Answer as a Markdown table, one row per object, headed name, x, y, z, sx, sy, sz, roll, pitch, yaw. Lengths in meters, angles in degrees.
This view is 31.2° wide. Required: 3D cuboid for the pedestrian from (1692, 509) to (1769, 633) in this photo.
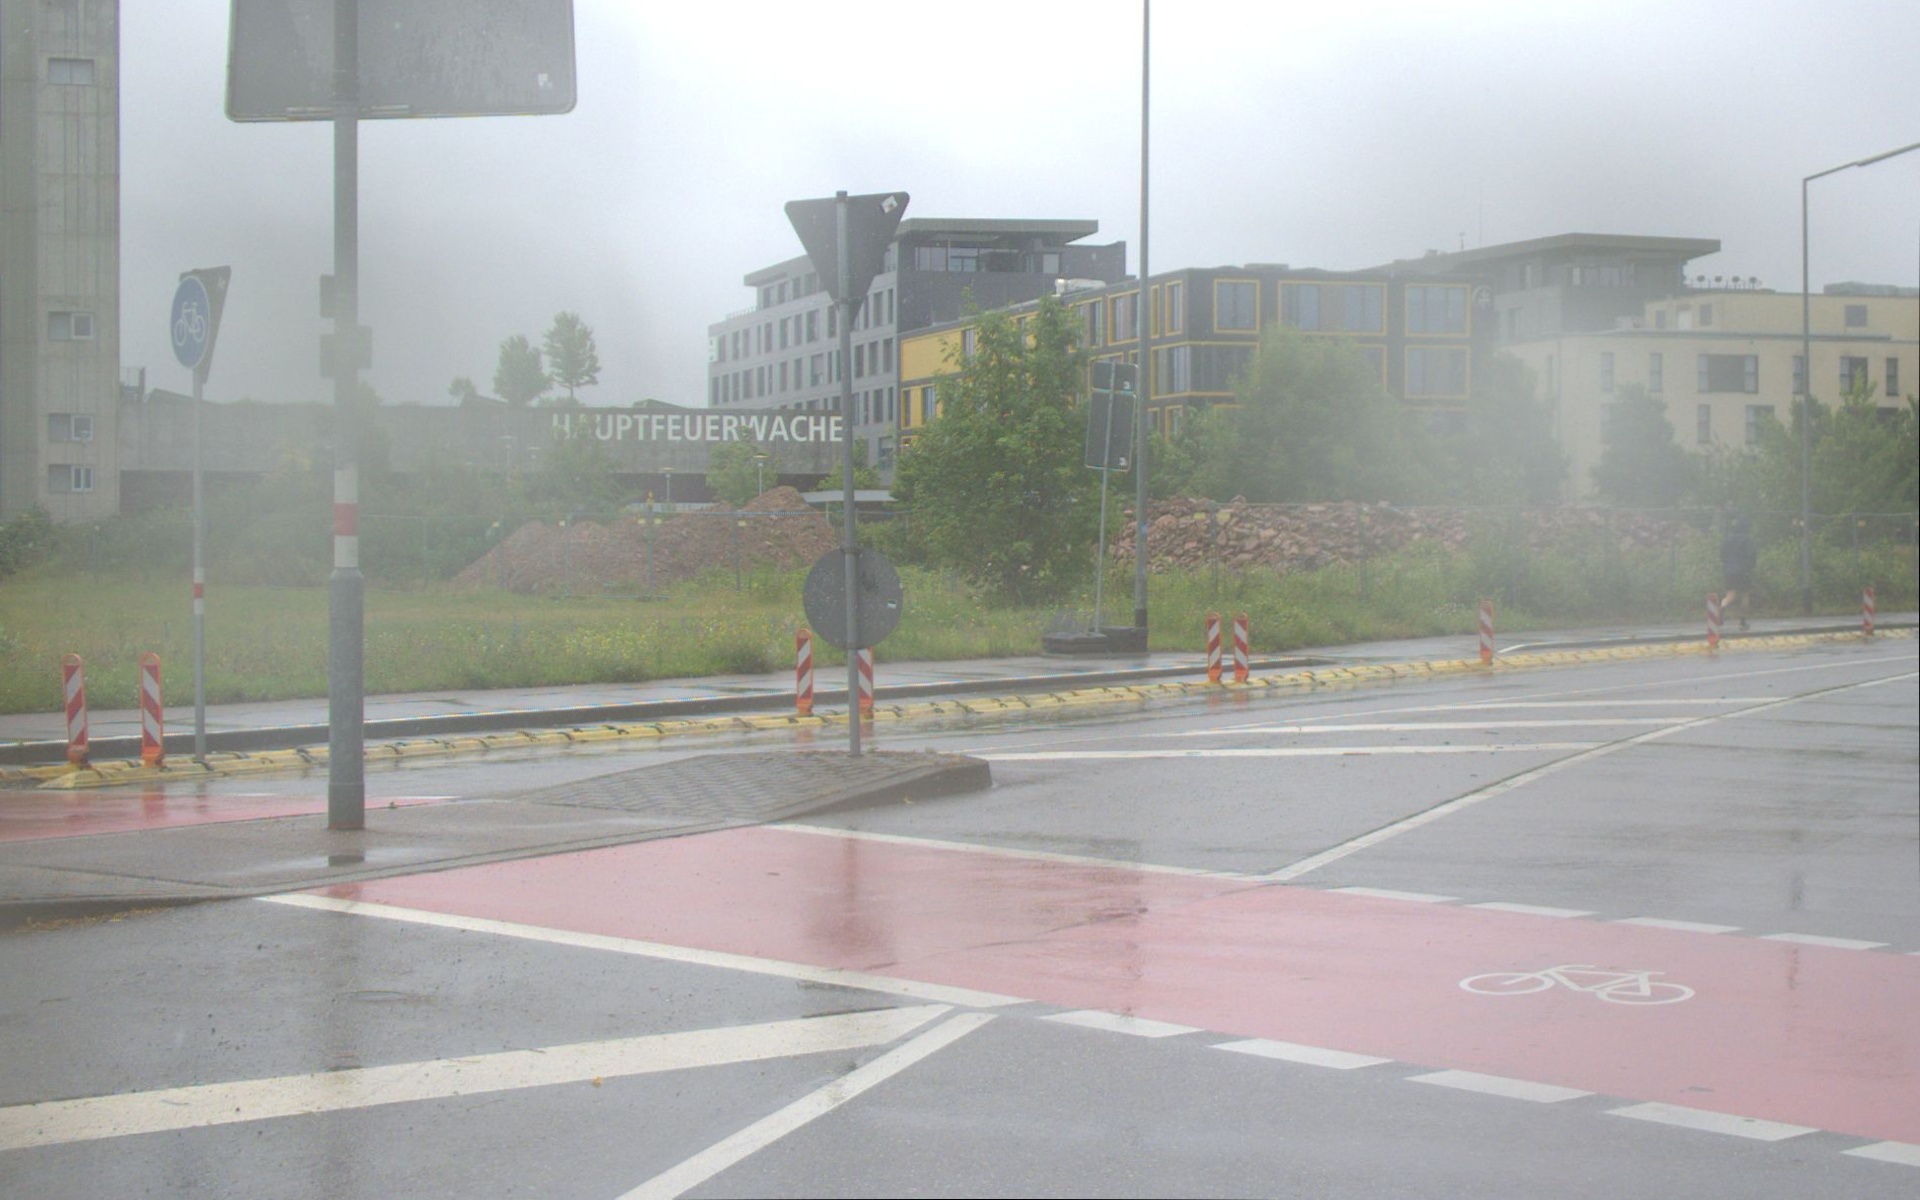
| name | x | y | z | sx | sy | sz | roll | pitch | yaw |
| --- | --- | --- | --- | --- | --- | --- | --- | --- | --- |
| pedestrian | 12.759 | -0.467 | 56.895 | 0.848 | 2.007 | 1.129 | 1 | -1 | 35 |
